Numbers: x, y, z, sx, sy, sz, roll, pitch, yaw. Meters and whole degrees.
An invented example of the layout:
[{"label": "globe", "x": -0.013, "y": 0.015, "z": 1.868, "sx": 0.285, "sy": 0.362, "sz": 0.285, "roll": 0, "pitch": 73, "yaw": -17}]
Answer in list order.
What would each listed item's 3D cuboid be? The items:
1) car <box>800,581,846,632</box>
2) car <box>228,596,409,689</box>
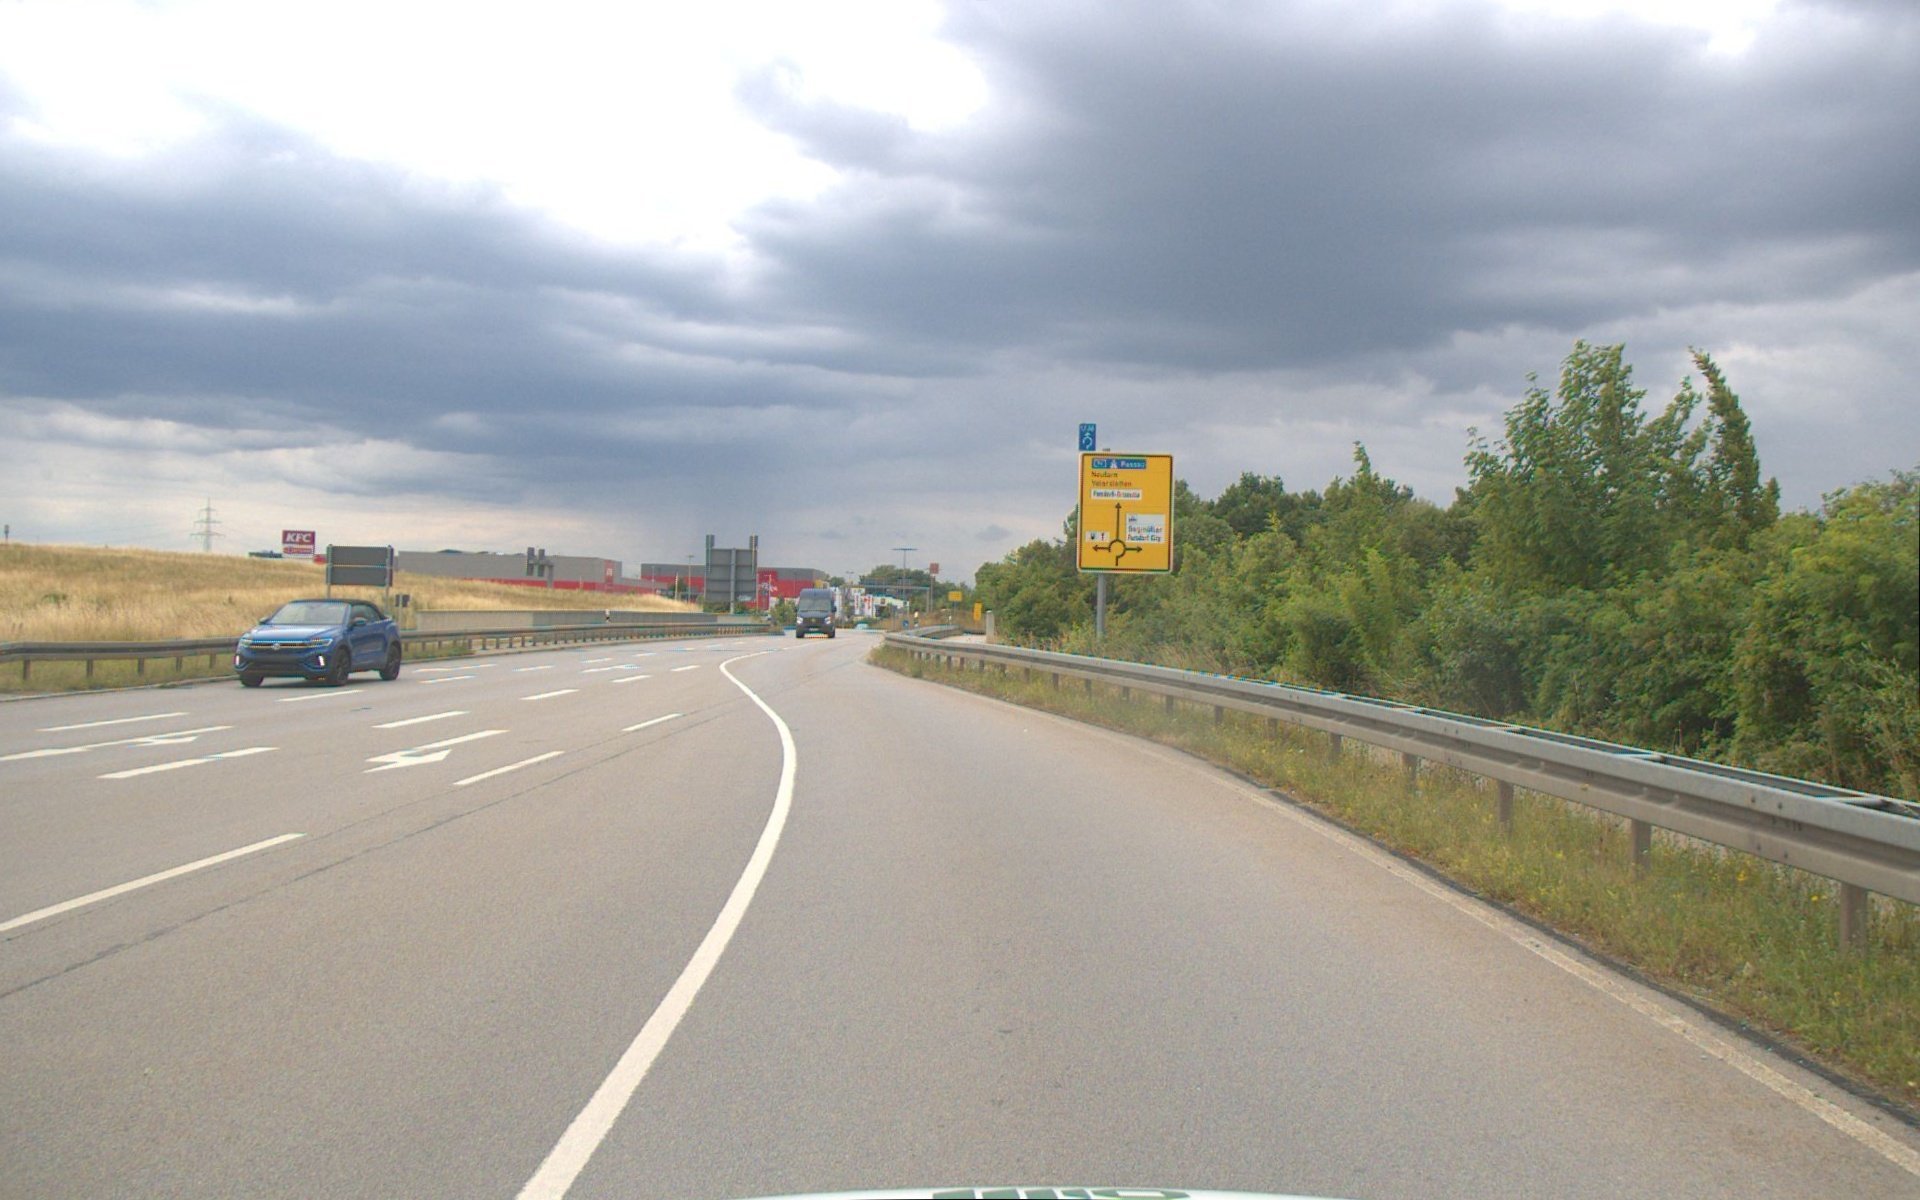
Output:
[{"label": "car", "x": -7.356, "y": 0.377, "z": 89.331, "sx": 1.953, "sy": 2.638, "sz": 6.003, "roll": 1, "pitch": 0, "yaw": 0}, {"label": "car", "x": -11.717, "y": 0.750, "z": 30.496, "sx": 1.761, "sy": 1.578, "sz": 4.000, "roll": 1, "pitch": 0, "yaw": 0}]
